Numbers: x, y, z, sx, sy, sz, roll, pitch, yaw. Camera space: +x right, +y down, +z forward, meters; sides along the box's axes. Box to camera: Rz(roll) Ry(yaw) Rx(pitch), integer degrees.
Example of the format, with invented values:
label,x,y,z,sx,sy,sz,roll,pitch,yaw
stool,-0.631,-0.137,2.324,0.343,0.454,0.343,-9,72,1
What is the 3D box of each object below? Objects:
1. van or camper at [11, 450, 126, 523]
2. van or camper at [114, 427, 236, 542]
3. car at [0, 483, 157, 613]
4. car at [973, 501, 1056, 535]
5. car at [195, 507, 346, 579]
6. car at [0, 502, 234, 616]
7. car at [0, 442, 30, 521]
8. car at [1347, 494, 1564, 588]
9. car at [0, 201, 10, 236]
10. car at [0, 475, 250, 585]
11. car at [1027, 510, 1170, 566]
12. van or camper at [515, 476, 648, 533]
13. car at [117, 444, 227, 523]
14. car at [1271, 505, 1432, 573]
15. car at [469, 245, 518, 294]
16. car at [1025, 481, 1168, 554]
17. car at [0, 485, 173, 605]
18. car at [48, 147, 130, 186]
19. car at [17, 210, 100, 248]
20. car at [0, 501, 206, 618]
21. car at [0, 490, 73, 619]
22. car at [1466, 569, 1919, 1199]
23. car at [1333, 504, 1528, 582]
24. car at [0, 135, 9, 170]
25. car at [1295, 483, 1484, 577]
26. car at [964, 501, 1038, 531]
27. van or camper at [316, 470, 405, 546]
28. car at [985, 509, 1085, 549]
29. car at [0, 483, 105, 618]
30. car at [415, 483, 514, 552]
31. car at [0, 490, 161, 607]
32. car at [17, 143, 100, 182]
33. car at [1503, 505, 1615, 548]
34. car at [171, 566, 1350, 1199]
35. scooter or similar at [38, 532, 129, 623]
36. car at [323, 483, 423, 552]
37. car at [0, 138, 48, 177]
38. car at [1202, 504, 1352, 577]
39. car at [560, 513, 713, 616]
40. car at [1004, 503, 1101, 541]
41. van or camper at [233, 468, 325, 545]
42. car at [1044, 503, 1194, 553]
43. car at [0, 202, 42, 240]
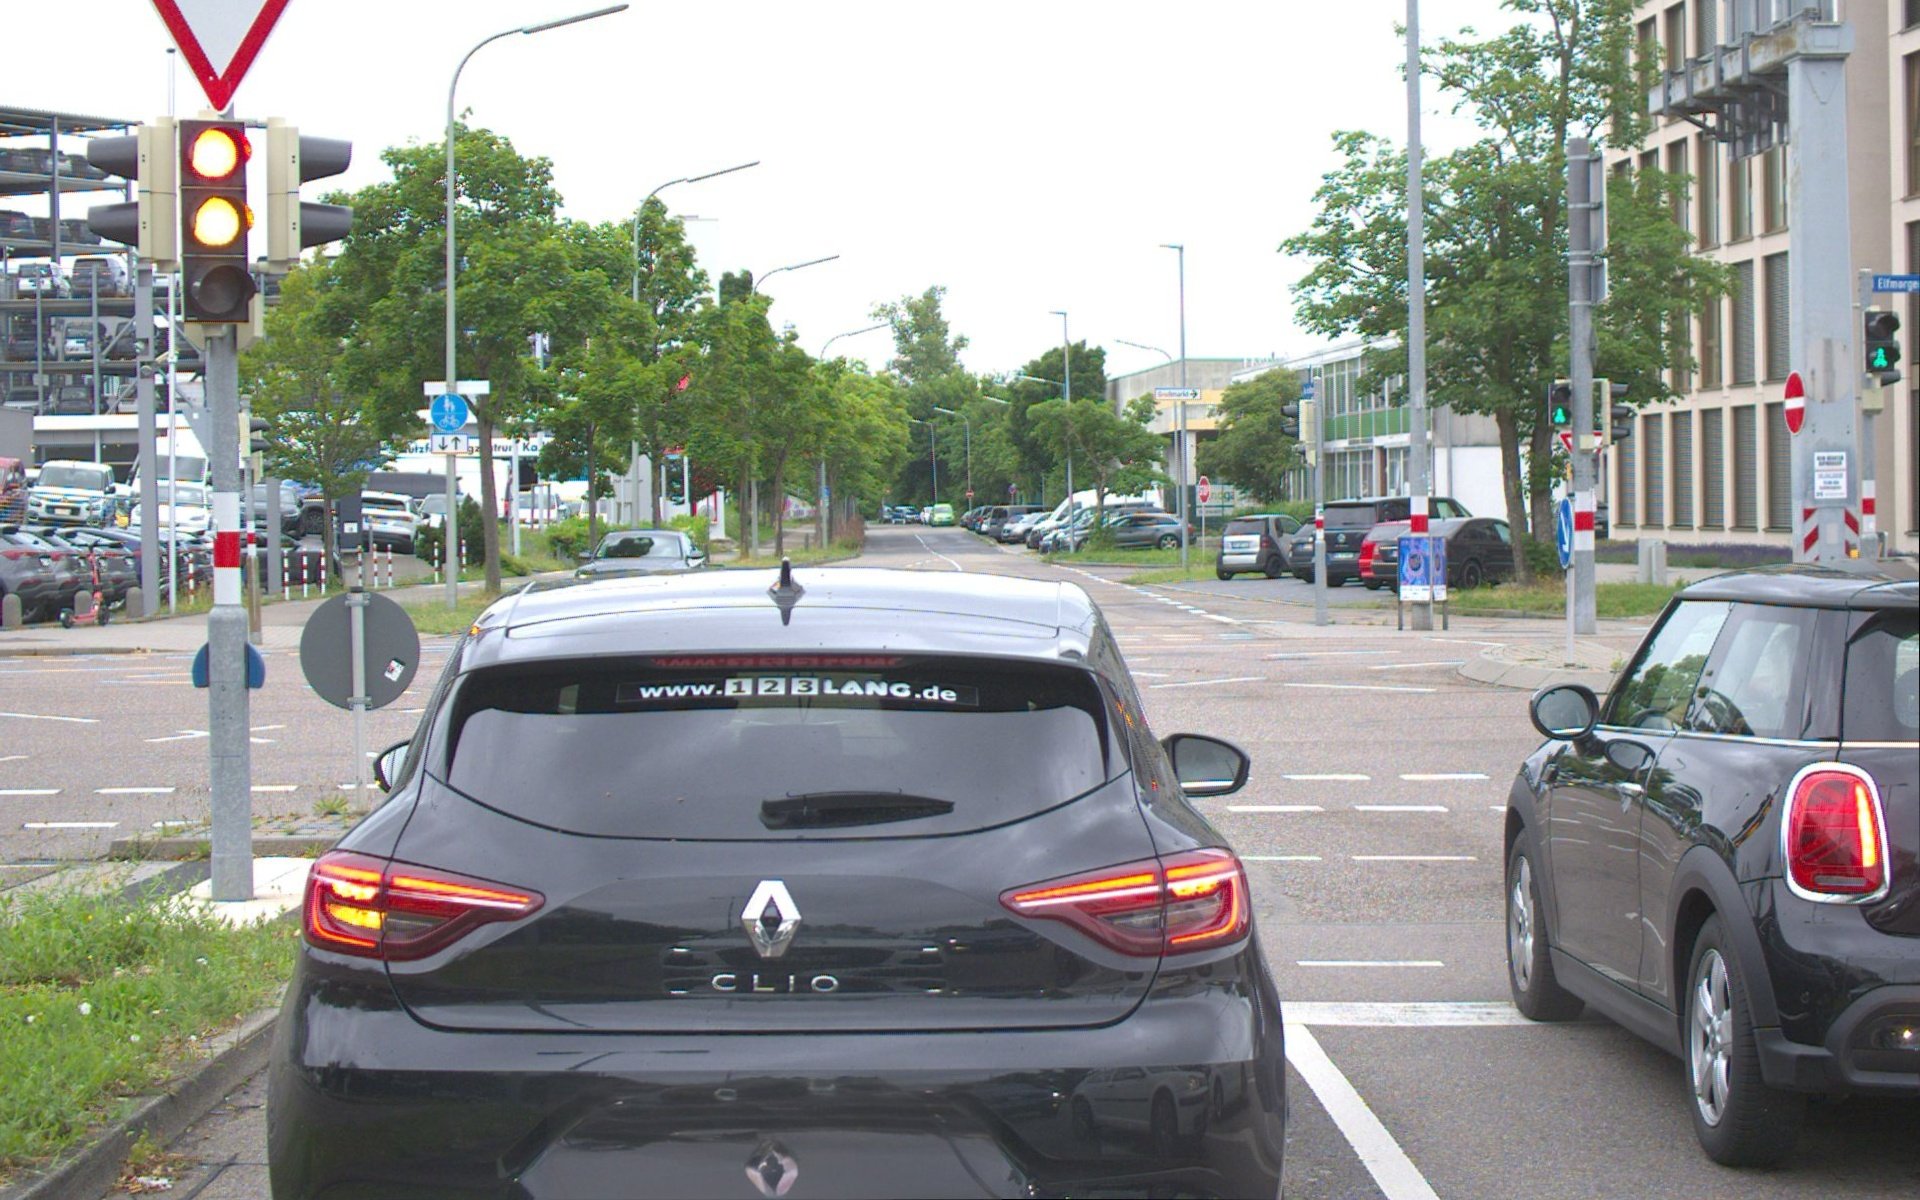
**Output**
label,x,y,z,sx,sy,sz,roll,pitch,yaw
van or camper,-21.554,-2.725,83.289,1.993,1.645,4.001,1,1,-4
van or camper,-21.565,-3.136,94.645,2.535,3.016,4.844,1,1,-4
car,-15.975,-0.784,56.534,5.022,2.007,2.266,-3,1,-5
car,3.426,-5.193,218.192,5.173,2.007,2.144,1,0,-1
car,-19.802,-1.634,98.894,3.986,2.007,2.000,1,0,-3
car,-16.835,-0.795,67.194,4.892,2.007,2.000,-3,1,-5
car,-24.009,-2.877,83.525,1.993,1.842,4.001,1,1,-4
car,9.626,-1.144,66.633,4.121,1.762,1.888,-1,1,-40
car,-50.290,-19.311,174.140,3.994,1.661,1.997,1,2,32
car,-17.099,-1.416,70.017,4.892,2.007,2.000,-3,1,-5
car,5.175,-2.301,128.956,5.173,2.007,2.144,1,0,-2
van or camper,-16.507,-4.179,150.240,5.598,2.363,2.000,1,0,-1
car,-19.087,-2.802,83.414,1.993,1.817,4.001,1,1,-4
car,8.858,-1.379,77.623,1.696,1.506,3.808,0,1,43
car,-21.497,-15.225,158.652,1.993,1.876,4.001,-1,1,-5
car,5.993,-3.612,151.552,6.116,3.105,2.134,1,0,-1
car,-16.708,-0.942,61.653,4.772,2.007,2.000,-3,1,-6
car,-45.984,-22.883,181.518,3.994,1.661,1.997,1,2,32
car,-47.063,-19.355,179.449,3.994,1.661,1.997,1,2,32
car,-16.803,-0.737,64.474,4.892,2.007,2.000,-3,1,-5
car,-15.786,-0.586,50.959,4.771,1.856,2.000,-3,1,-5
car,2.528,0.634,9.191,1.786,1.411,3.643,1,0,0
car,9.745,-1.178,71.021,1.887,1.546,4.123,0,1,45
car,-50.311,-22.657,174.113,3.994,1.661,1.997,1,2,32
car,9.288,-1.501,74.218,1.998,1.959,4.235,0,1,41
car,2.709,-5.626,229.839,4.785,1.885,2.144,1,0,-2
van or camper,-16.519,-2.524,94.836,1.993,2.007,4.001,1,1,-4
car,3.955,-3.760,182.143,5.173,2.007,2.144,1,0,-1
car,-15.920,-0.692,53.527,4.700,2.007,2.000,-3,1,-4
car,-12.197,-2.013,84.760,1.993,1.612,4.000,1,1,-2
car,-16.428,-0.828,59.162,4.945,1.870,2.054,-3,1,-6
car,-47.081,-22.831,179.575,3.994,1.661,1.997,1,2,32
car,19.325,-2.371,110.896,3.229,1.328,1.486,1,1,-19
car,-0.325,0.657,7.162,1.757,1.430,4.000,1,1,-1
scooter or similar,-12.304,-0.327,48.293,0.557,1.214,1.559,2,2,13
car,-14.207,-1.978,83.390,1.993,1.612,4.001,1,1,-4
car,-48.921,-22.655,176.223,3.994,1.661,1.997,1,2,32
car,7.745,-1.445,83.936,3.424,1.726,1.765,0,1,-42
car,-5.144,-0.600,55.238,1.978,1.546,4.614,-1,2,0
car,4.719,-3.980,175.543,4.785,1.885,2.144,1,0,-2
van or camper,-18.718,-2.552,94.644,1.993,2.007,4.001,1,1,-4
car,5.699,-2.593,123.706,5.173,1.714,2.144,1,0,-2
car,-49.196,-19.396,176.097,3.994,1.661,1.997,1,2,32
